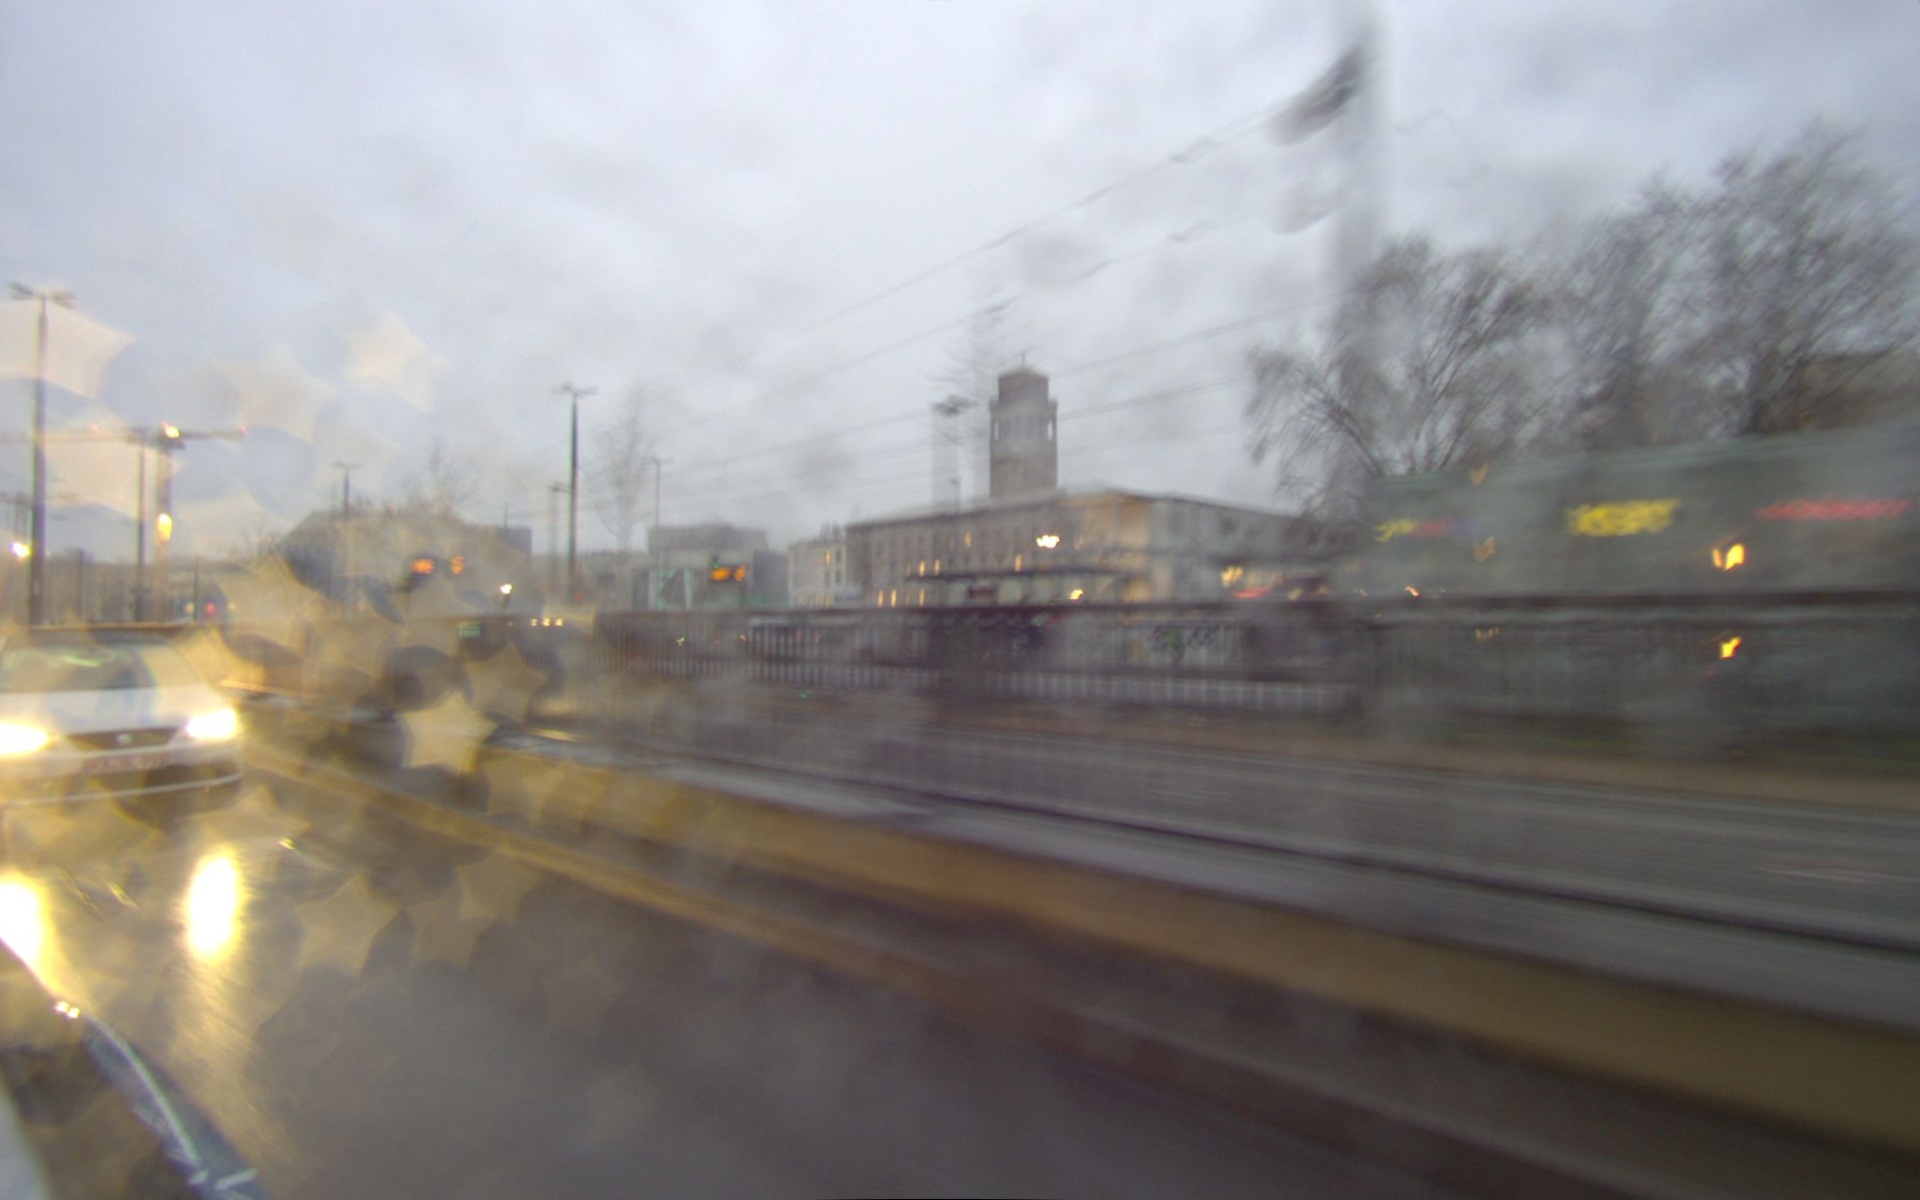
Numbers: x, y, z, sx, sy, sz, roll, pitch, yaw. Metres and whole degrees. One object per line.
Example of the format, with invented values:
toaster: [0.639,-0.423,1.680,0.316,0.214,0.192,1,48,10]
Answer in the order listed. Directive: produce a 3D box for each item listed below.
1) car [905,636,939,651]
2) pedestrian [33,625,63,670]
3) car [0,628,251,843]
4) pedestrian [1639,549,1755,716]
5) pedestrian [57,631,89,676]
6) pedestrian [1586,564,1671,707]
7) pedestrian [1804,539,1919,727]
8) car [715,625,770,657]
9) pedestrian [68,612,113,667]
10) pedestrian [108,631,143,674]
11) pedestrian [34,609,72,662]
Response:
car: [-3.383,3.865,90.751,1.447,1.284,3.123,-2,-2,34]
pedestrian: [-35.520,1.843,39.407,0.656,1.748,0.607,0,0,-11]
car: [-7.818,1.010,8.982,4.141,1.484,1.789,-2,-2,45]
pedestrian: [7.202,0.310,9.901,0.576,1.562,0.742,0,-1,-37]
pedestrian: [-34.607,2.094,39.492,0.743,1.731,0.650,-1,-1,16]
pedestrian: [7.618,0.392,11.541,0.536,1.579,0.584,0,-1,-28]
pedestrian: [7.997,0.281,8.894,0.576,1.562,0.742,0,-1,-37]
car: [-19.316,3.581,89.842,4.373,2.732,2.002,0,-2,-43]
pedestrian: [-35.311,1.599,41.124,0.949,2.224,1.047,-1,-1,16]
pedestrian: [-33.948,2.131,41.177,0.758,1.727,0.856,-1,-1,16]
pedestrian: [-37.541,1.468,41.885,1.014,2.162,0.896,-2,-1,31]
